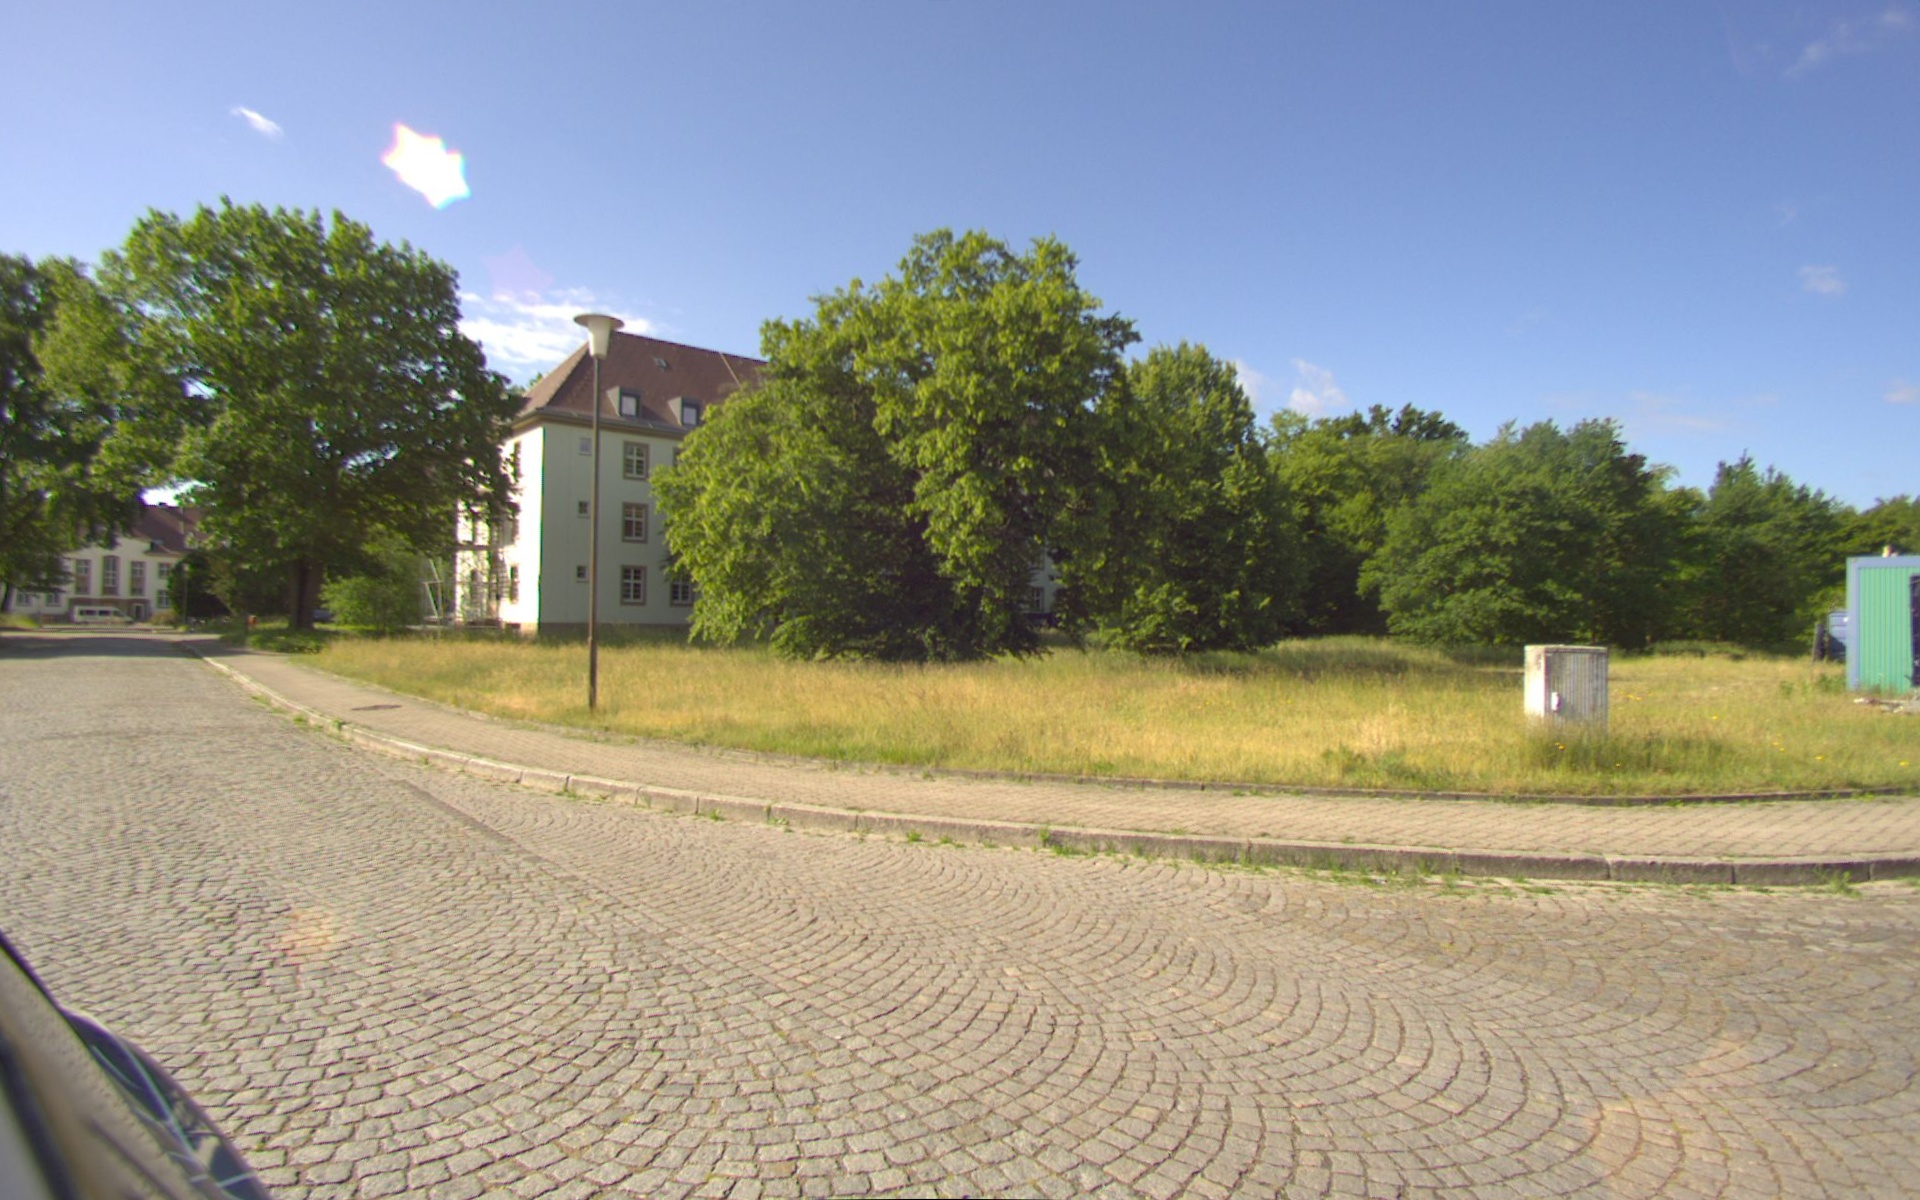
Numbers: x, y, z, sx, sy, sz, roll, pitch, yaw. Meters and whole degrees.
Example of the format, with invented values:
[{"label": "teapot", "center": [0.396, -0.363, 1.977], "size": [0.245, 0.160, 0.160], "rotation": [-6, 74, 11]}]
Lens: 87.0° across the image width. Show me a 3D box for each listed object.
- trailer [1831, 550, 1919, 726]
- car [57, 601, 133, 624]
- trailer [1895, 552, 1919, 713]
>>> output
[{"label": "trailer", "center": [14.323, 0.518, 12.826], "size": [2.103, 2.315, 4.679], "rotation": [2, -2, -39]}, {"label": "car", "center": [-97.827, 1.430, 114.580], "size": [6.348, 2.485, 2.468], "rotation": [2, -2, -40]}, {"label": "trailer", "center": [16.417, 0.501, 14.017], "size": [2.064, 2.372, 4.980], "rotation": [2, -2, -43]}]
